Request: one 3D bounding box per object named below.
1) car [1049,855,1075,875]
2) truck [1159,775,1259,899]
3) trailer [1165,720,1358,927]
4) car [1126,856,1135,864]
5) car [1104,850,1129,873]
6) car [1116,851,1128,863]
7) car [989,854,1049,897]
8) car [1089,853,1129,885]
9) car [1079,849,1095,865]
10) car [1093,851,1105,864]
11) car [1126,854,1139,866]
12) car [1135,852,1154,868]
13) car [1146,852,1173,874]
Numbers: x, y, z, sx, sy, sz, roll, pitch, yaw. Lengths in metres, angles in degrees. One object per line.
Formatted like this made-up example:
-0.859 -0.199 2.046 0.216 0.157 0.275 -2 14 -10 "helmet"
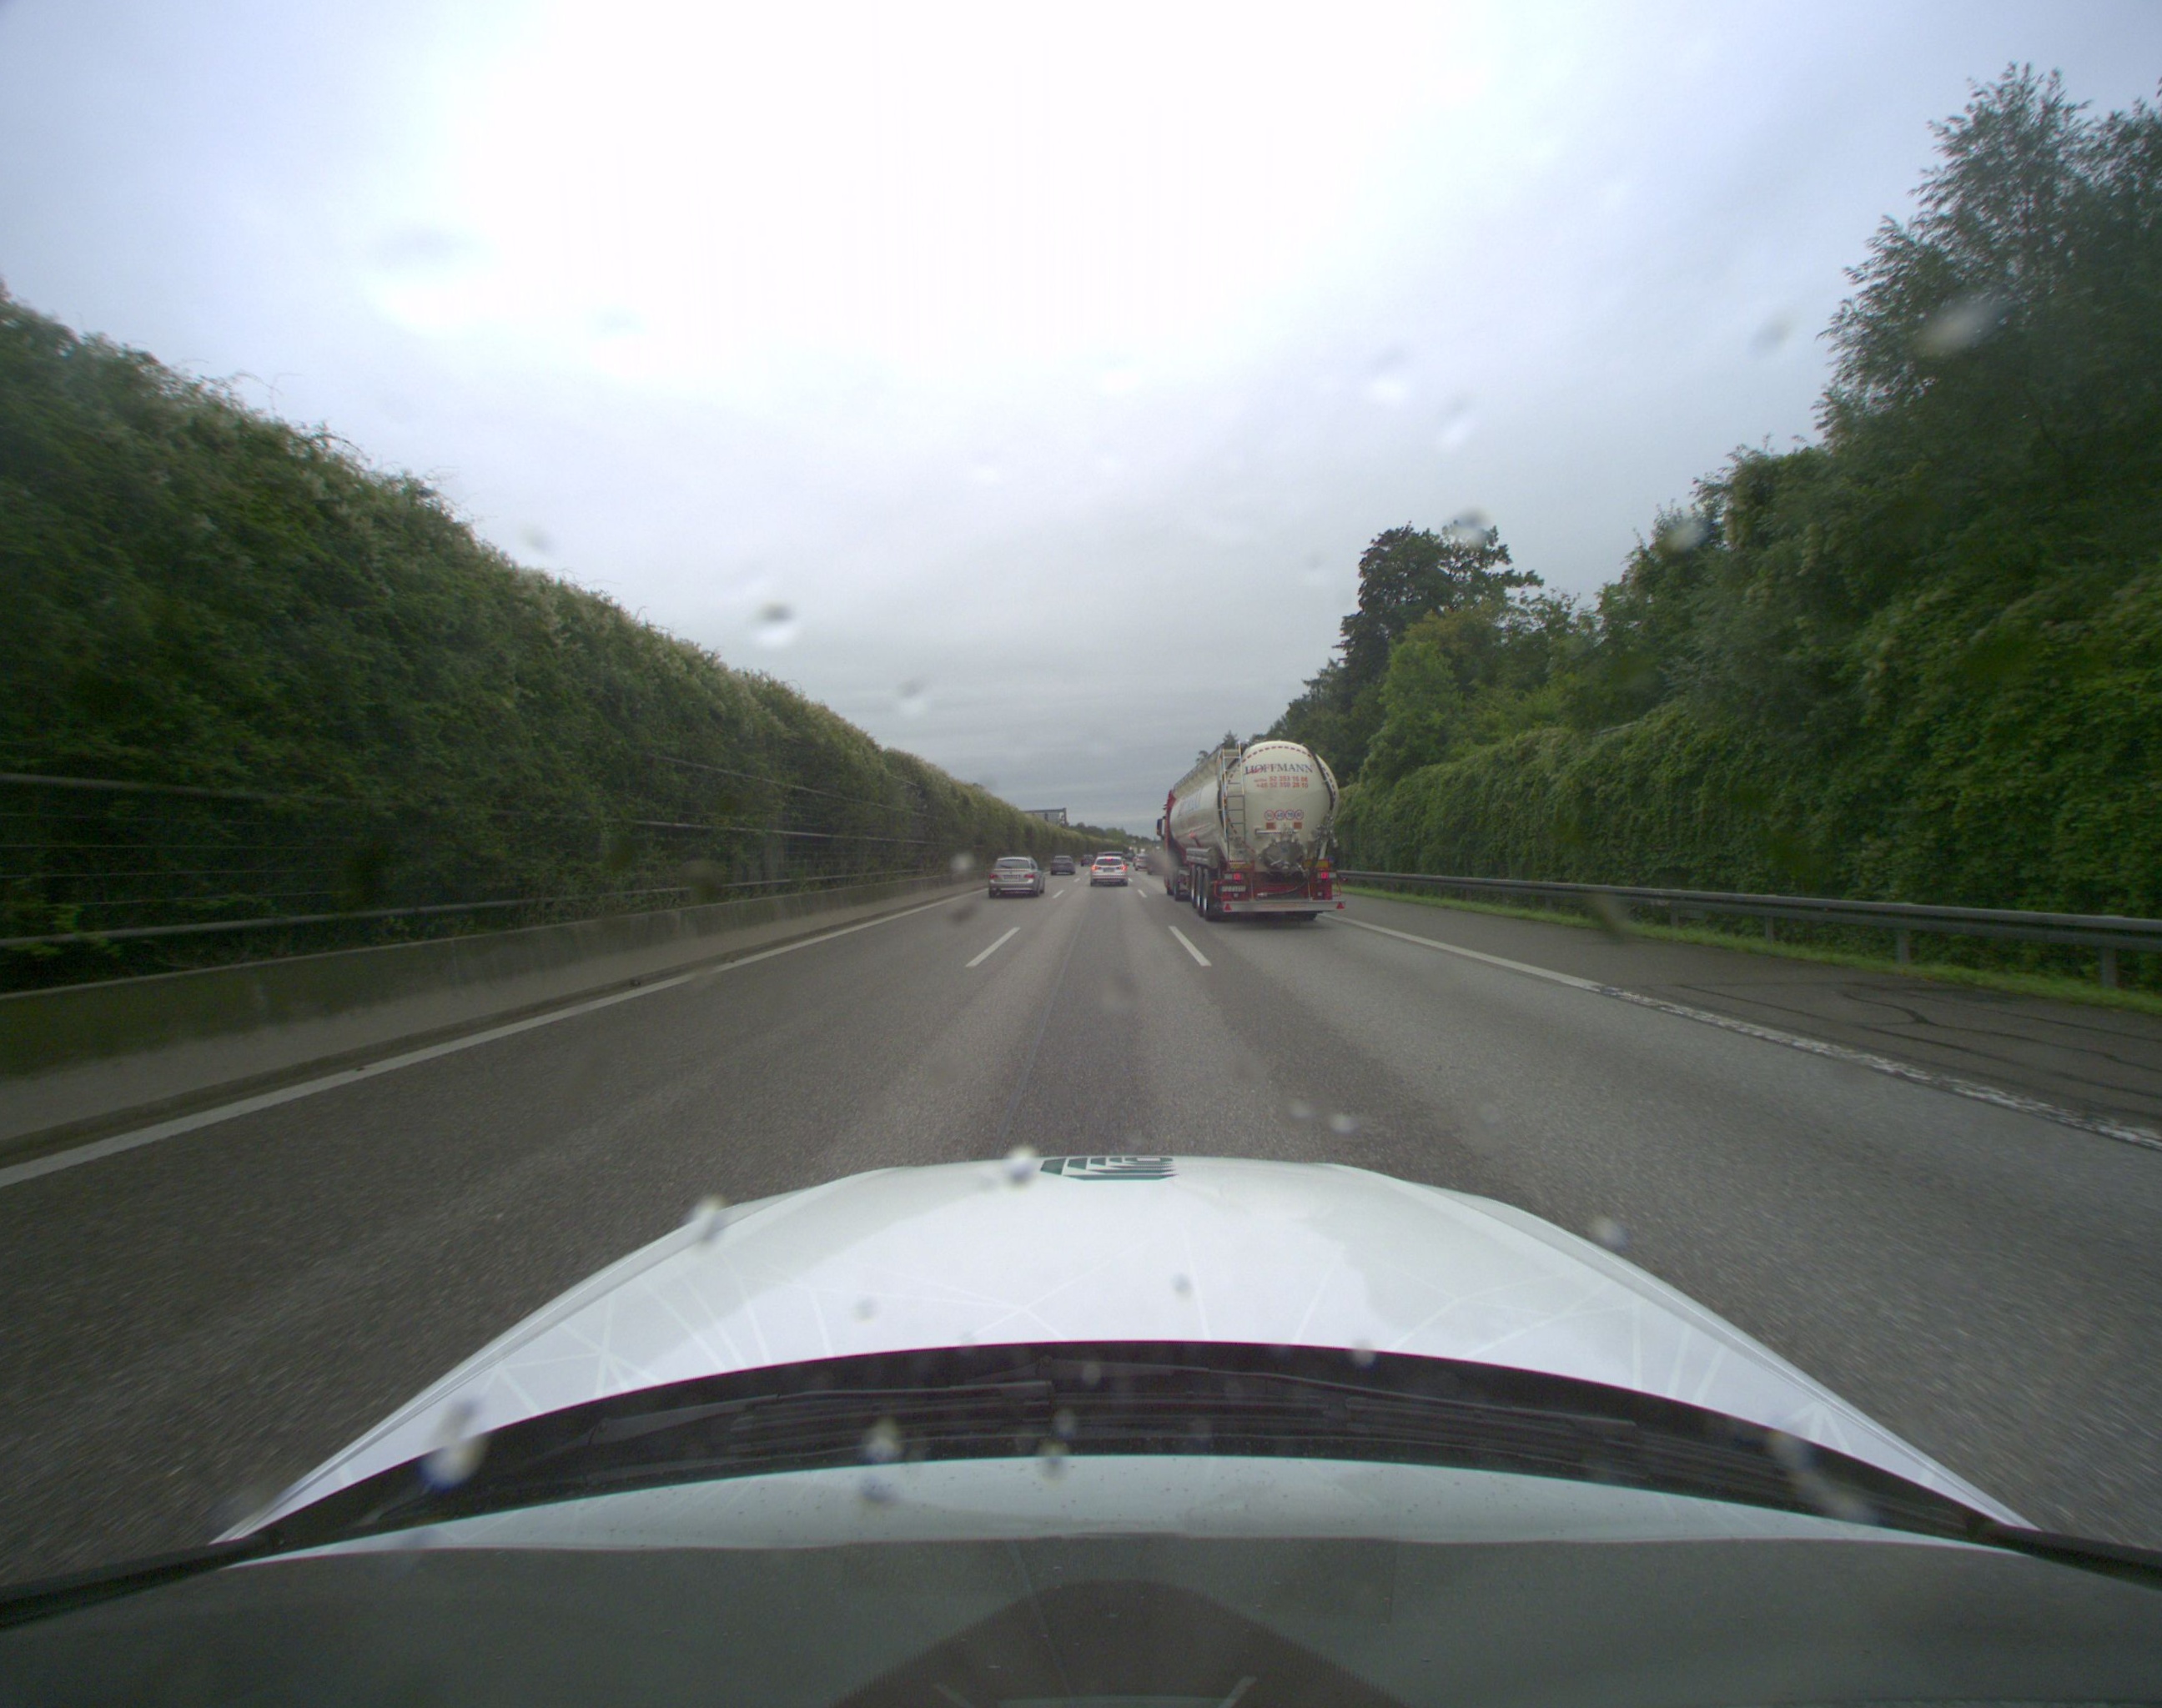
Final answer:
-1.457 0.811 63.594 1.713 1.512 5.032 -1 0 2 "car"
4.341 -0.516 28.974 2.685 3.912 6.558 0 -1 2 "truck"
4.133 -0.539 22.185 2.658 3.939 13.134 0 0 2 "trailer"
9.412 1.101 155.133 1.682 1.539 3.873 -1 0 2 "car"
2.618 0.540 59.891 1.682 1.506 3.873 3 1 2 "car"
6.271 0.462 126.088 1.783 1.779 3.873 -1 0 2 "car"
-2.281 0.761 31.158 1.713 1.469 5.032 0 1 2 "car"
1.347 0.721 41.149 1.885 1.504 5.030 -1 0 1 "car"
0.755 0.354 106.076 1.986 2.013 3.843 -1 0 2 "car"
3.079 0.588 137.108 1.986 2.013 4.002 -1 0 2 "car"
6.646 0.759 104.974 1.682 1.506 3.874 0 0 3 "car"
6.094 0.573 78.442 1.682 1.506 3.874 0 0 3 "car"
6.017 0.650 63.049 1.809 1.625 5.033 -1 0 2 "car"
